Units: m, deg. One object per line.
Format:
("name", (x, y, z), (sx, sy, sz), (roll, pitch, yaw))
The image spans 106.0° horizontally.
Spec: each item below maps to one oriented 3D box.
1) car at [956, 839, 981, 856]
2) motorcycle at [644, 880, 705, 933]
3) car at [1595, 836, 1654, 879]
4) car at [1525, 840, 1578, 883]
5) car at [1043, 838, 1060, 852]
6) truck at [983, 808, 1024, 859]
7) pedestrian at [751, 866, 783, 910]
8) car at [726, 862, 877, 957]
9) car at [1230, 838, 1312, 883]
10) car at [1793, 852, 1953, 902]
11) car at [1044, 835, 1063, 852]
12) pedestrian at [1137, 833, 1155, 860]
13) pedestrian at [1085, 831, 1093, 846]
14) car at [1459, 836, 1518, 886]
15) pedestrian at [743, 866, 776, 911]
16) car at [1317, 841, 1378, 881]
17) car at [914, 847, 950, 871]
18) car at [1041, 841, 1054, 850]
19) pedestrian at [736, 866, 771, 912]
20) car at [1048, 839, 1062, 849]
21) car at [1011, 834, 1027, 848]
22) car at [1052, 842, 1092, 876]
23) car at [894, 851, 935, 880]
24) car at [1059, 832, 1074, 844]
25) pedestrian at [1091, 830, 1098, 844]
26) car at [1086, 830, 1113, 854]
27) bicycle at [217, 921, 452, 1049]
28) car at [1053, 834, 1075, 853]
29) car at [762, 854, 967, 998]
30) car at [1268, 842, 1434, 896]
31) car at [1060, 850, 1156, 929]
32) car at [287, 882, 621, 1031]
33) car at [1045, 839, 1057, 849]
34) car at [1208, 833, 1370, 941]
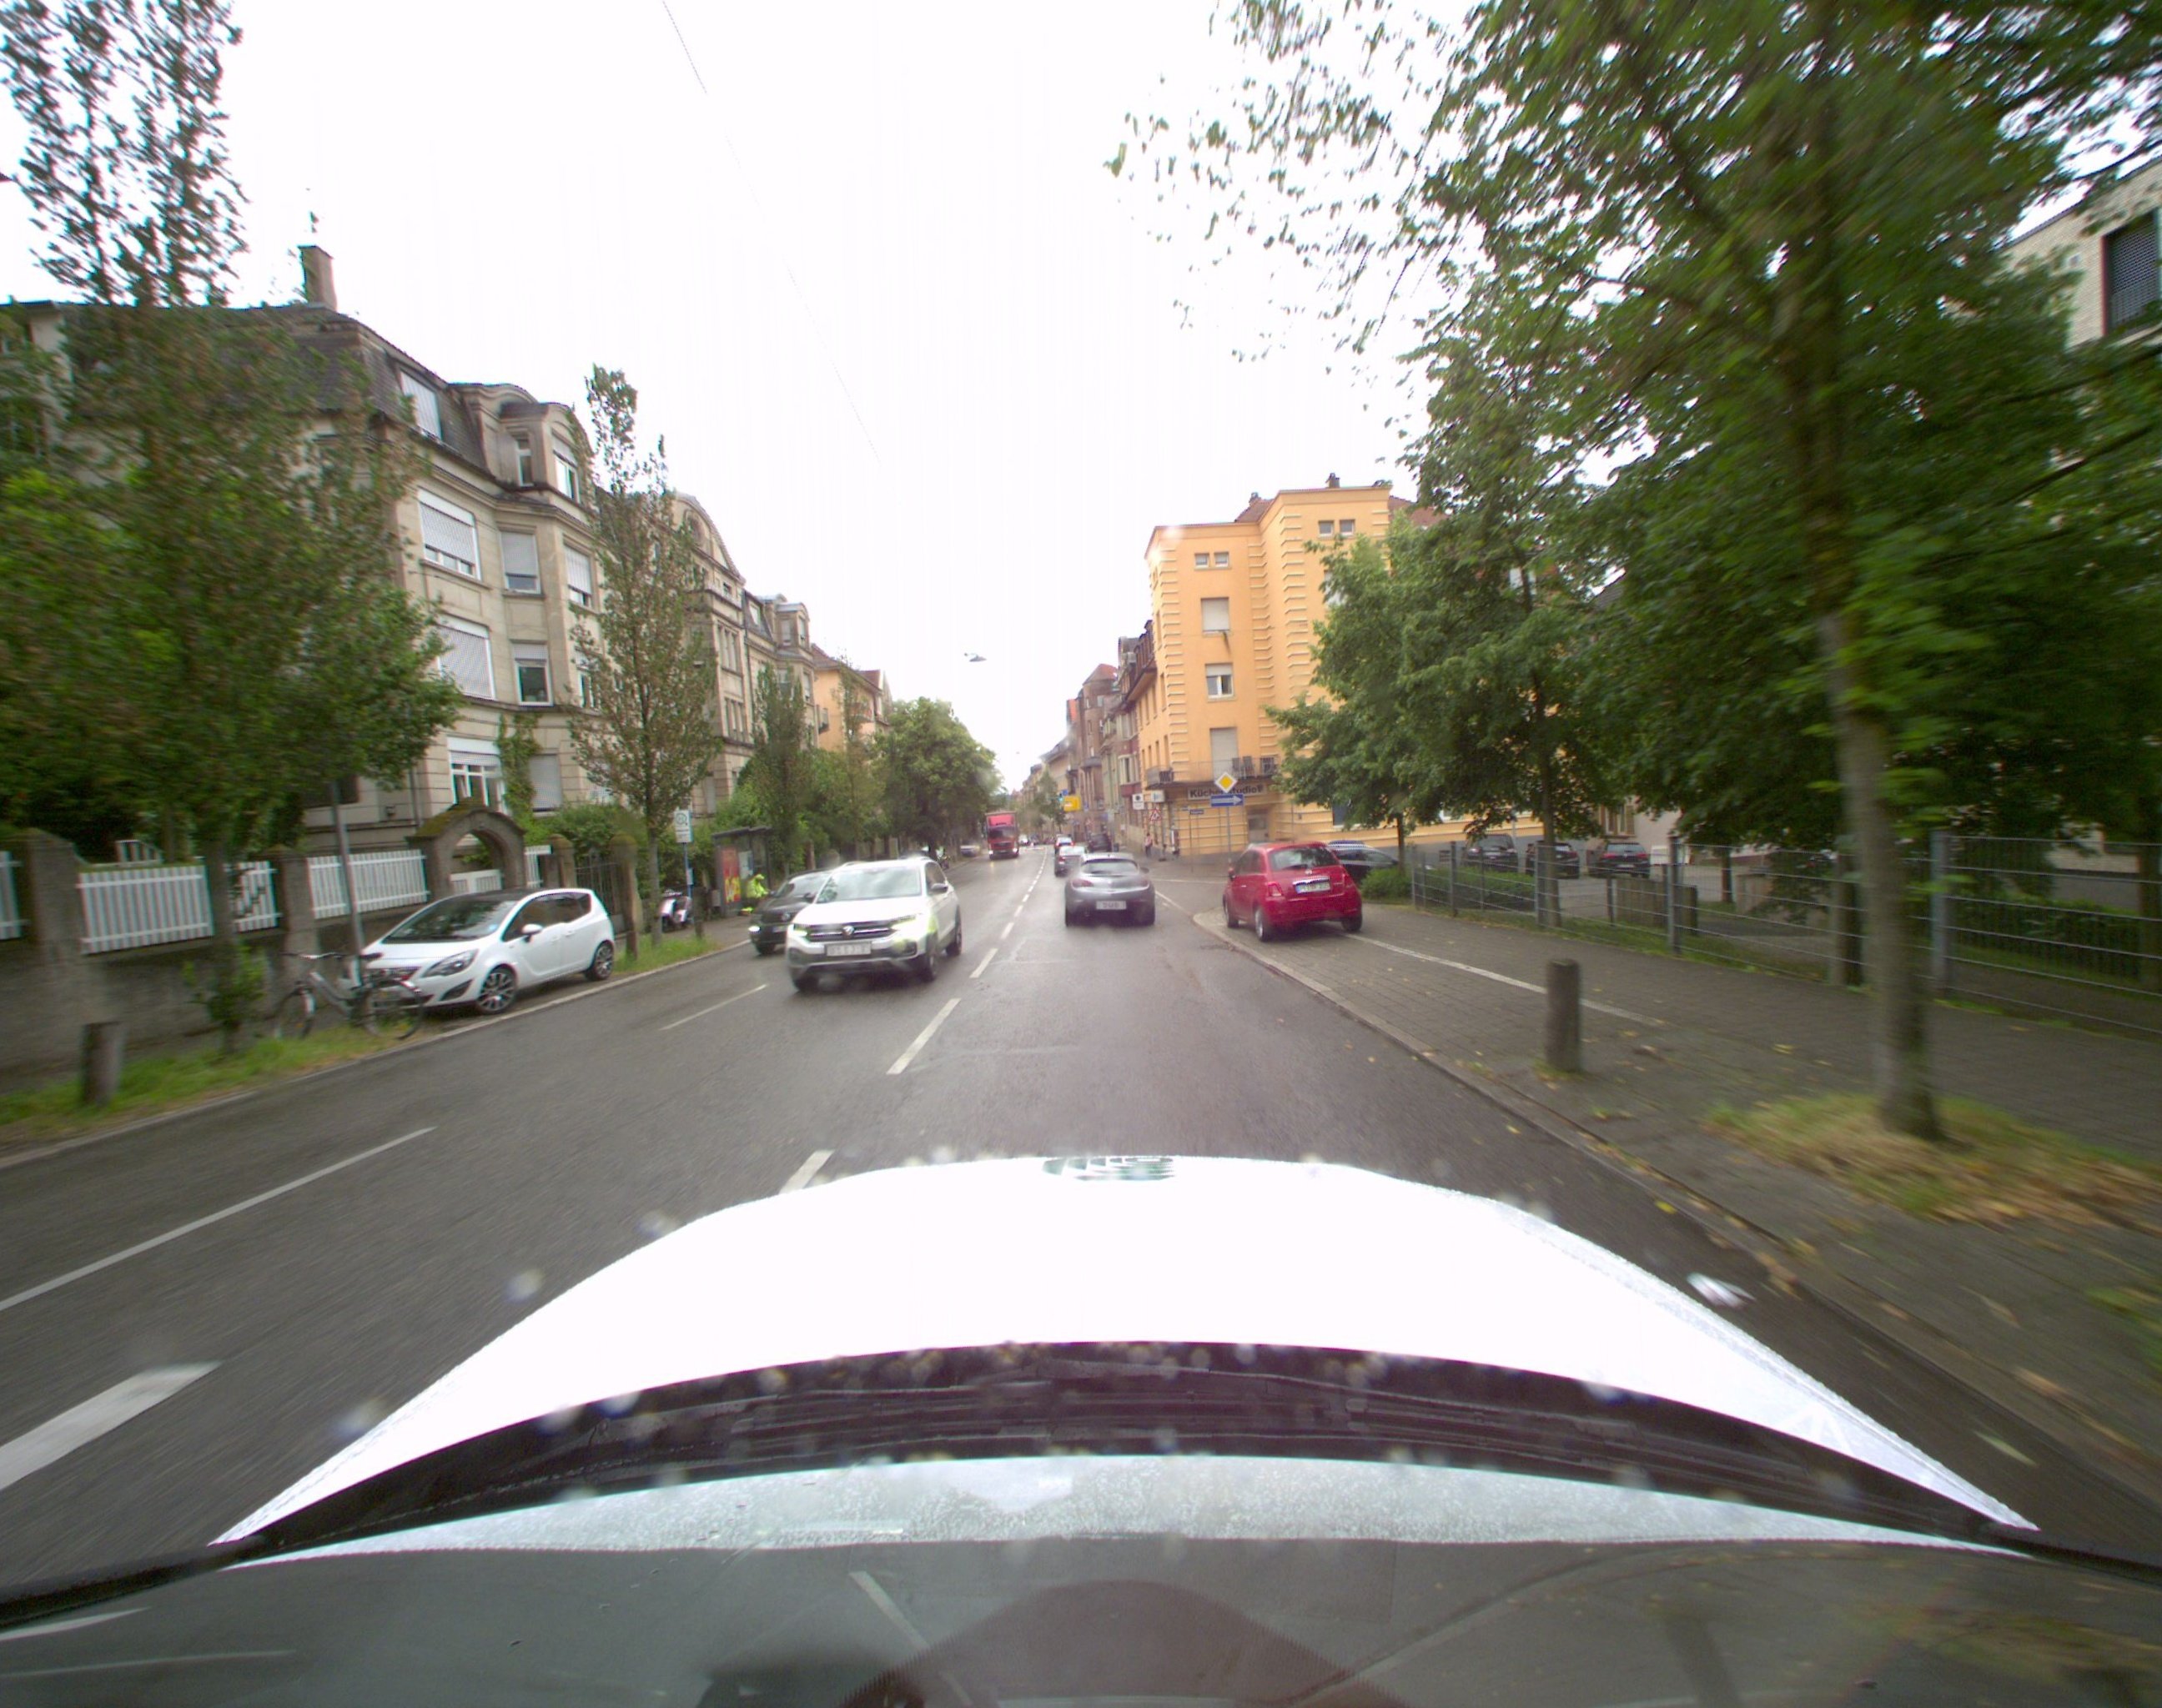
("car", (-10.502, -0.588, 76.162), (1.736, 1.559, 4.300), (-1, 1, -1))
("motorcycle", (-10.872, 1.381, 21.847), (0.653, 1.237, 1.763), (-3, 1, 2))
("car", (21.447, 0.125, 32.252), (1.686, 1.469, 3.636), (-3, 1, 30))
("car", (18.627, 0.261, 32.211), (1.687, 1.468, 3.636), (2, 3, 30))
("car", (-3.716, -1.155, 102.709), (1.656, 1.542, 3.654), (-5, 0, -9))
("truck", (-6.473, -1.694, 69.150), (2.641, 3.854, 9.299), (-5, 1, -2))
("pedestrian", (-10.799, 1.160, 27.999), (0.763, 1.432, 0.649), (-3, 0, 0))
("car", (-5.625, 1.039, 16.943), (1.739, 1.517, 3.867), (-5, 1, -1))
("car", (7.327, 0.201, 31.186), (1.831, 1.469, 4.136), (-3, 1, 30))
("car", (25.241, 0.716, 26.039), (3.511, 1.425, 1.775), (0, 3, -5))
("car", (-2.785, -1.029, 81.713), (1.654, 1.542, 3.658), (-5, 0, -5))
("pedestrian", (3.888, -0.456, 48.603), (0.769, 1.589, 0.707), (-3, 0, -21))
("pedestrian", (0.991, -1.858, 98.715), (0.712, 1.774, 0.668), (-4, 2, 16))
("car", (15.842, 0.207, 31.852), (1.688, 1.724, 4.565), (0, 2, 22))
("pedestrian", (-10.773, 1.154, 27.340), (0.763, 1.432, 0.649), (-3, 0, 0))
("car", (10.586, 0.299, 32.235), (1.687, 1.492, 3.658), (0, -1, 28))
("car", (-9.985, 0.314, 54.830), (1.736, 1.559, 4.300), (-1, 1, -1))
("car", (-6.150, -1.525, 148.035), (1.757, 1.461, 4.709), (-6, 1, -9))
("pedestrian", (-10.726, 1.149, 26.701), (0.764, 1.432, 0.759), (-3, 0, -2))
("car", (-4.310, -1.659, 136.690), (1.695, 1.431, 4.408), (-6, 1, -9))
("car", (-7.698, -1.632, 101.795), (1.768, 1.517, 4.587), (-3, 3, -3))
("car", (-0.444, 0.211, 39.086), (1.767, 1.504, 3.867), (-2, 1, -1))
("car", (-9.501, 0.635, 46.747), (1.738, 1.559, 4.295), (0, 0, -5))
("car", (-2.220, -2.324, 120.639), (1.656, 1.542, 3.654), (-5, 0, -9))
("pedestrian", (1.646, -2.069, 98.471), (0.592, 1.584, 0.668), (-4, 2, 17))
("car", (1.455, -0.949, 65.749), (1.872, 1.629, 4.695), (-6, 1, -1))
("bicycle", (-8.585, 1.485, 9.426), (1.970, 1.235, 0.657), (-3, 0, -3))
("car", (-1.439, -0.855, 69.288), (1.767, 1.504, 3.867), (-2, 1, -1))
("car", (-2.781, 0.822, 11.435), (1.767, 1.517, 4.097), (-3, 1, -1))
("car", (7.929, 0.411, 24.128), (4.263, 1.498, 1.998), (0, 1, -7))
("car", (0.504, 0.680, 17.604), (1.806, 1.449, 3.868), (-2, 1, -1))
("car", (-8.753, 1.305, 11.960), (1.738, 1.559, 4.296), (-1, 1, -4))
("car", (-5.195, -1.666, 141.987), (1.638, 1.520, 3.173), (-6, 1, -9))
("car", (3.400, 0.473, 14.059), (1.605, 1.501, 3.955), (-4, 1, -2))
